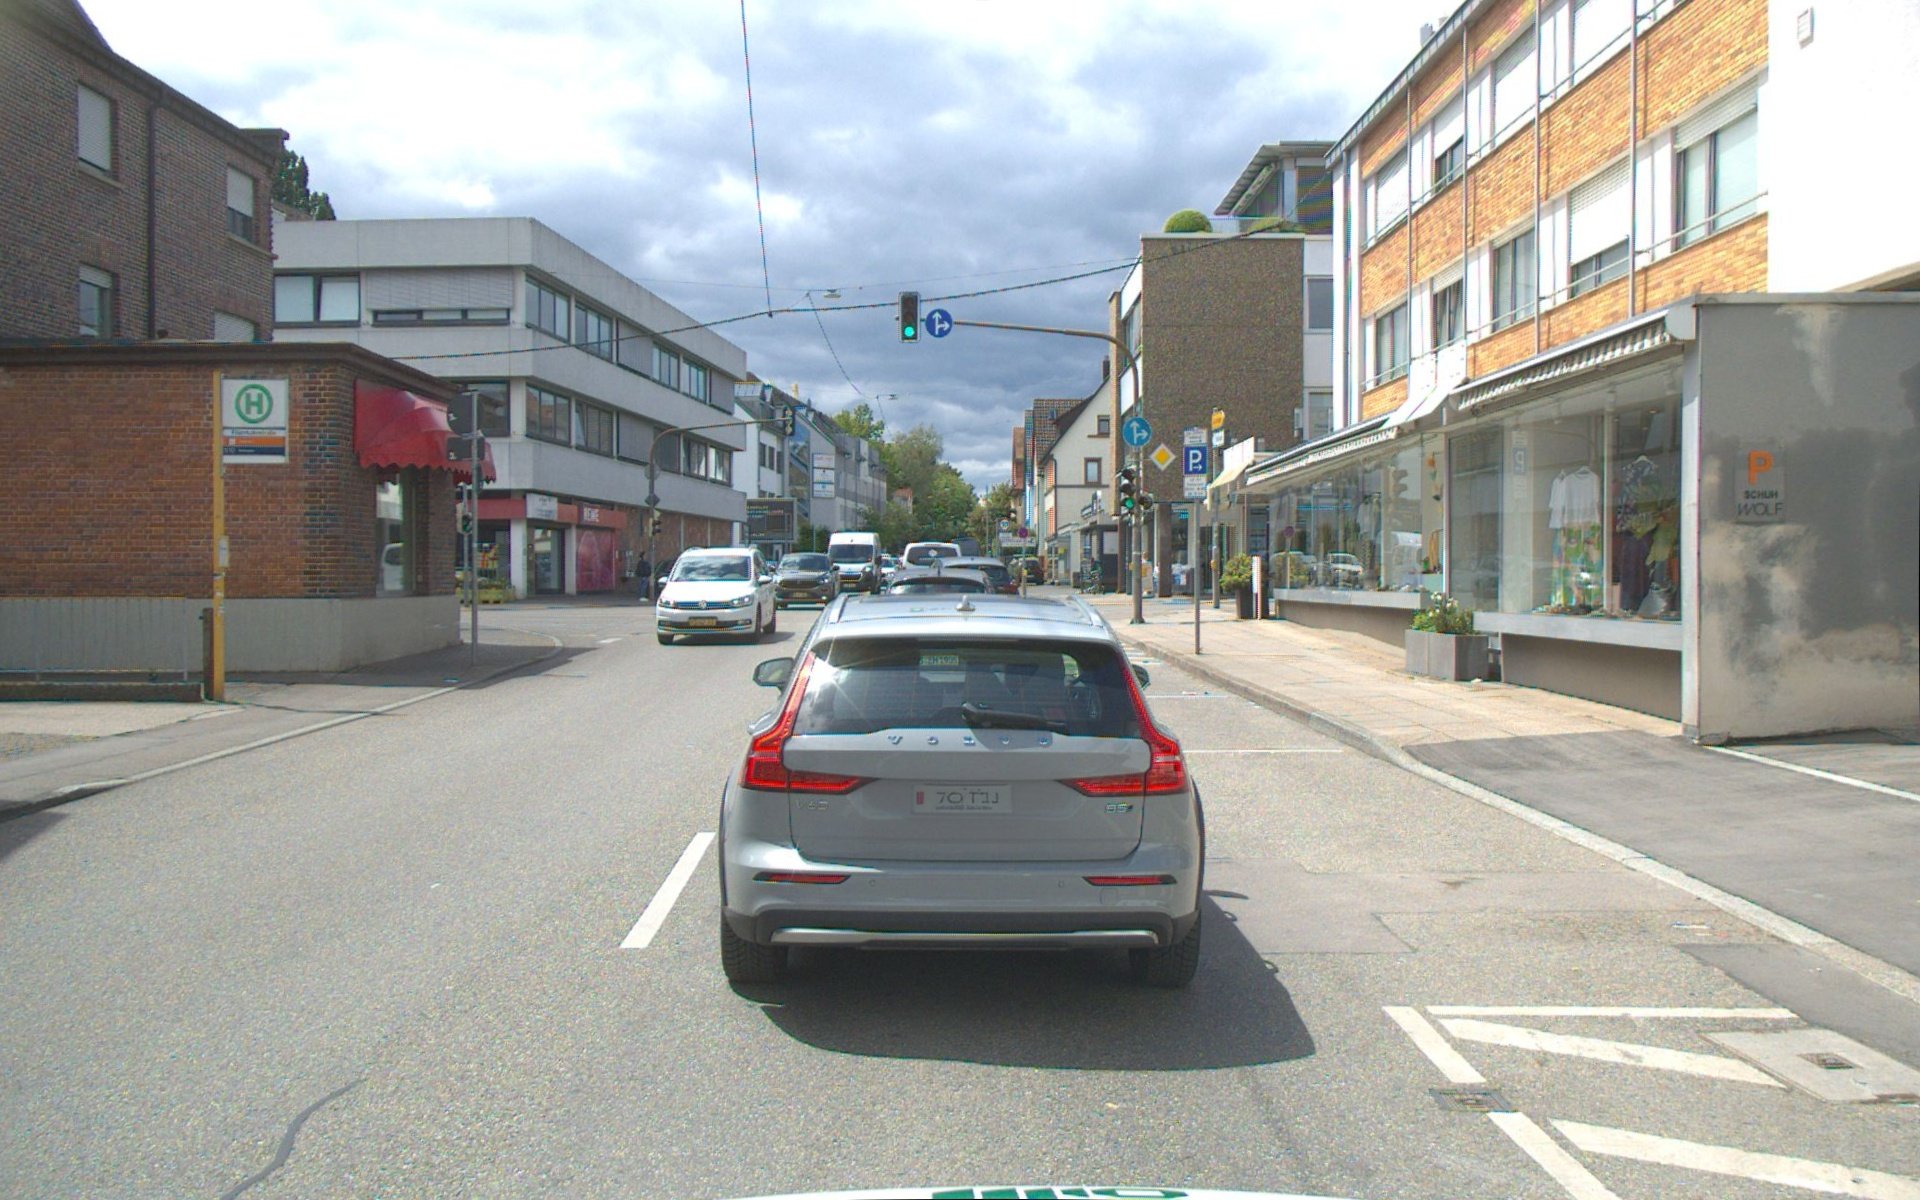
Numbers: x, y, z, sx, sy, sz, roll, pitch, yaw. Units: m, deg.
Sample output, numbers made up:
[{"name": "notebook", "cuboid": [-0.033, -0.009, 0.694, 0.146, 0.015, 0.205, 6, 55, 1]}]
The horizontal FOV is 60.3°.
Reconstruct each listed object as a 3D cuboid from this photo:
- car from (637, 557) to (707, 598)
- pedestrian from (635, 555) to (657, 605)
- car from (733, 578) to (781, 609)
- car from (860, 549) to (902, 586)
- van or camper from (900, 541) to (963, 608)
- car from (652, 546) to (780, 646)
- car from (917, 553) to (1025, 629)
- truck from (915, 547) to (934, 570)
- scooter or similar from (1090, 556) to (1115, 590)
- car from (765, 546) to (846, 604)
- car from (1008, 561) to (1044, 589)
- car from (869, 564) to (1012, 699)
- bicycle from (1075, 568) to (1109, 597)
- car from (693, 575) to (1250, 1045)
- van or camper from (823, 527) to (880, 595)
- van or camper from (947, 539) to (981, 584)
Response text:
[{"name": "car", "cuboid": [-10.977, -0.862, 63.299, 1.747, 1.490, 4.089, 1, 1, 3]}, {"name": "pedestrian", "cuboid": [-10.713, -0.683, 56.463, 0.606, 1.670, 0.660, -1, 1, 1]}, {"name": "car", "cuboid": [-9.884, -0.307, 80.686, 1.719, 1.451, 3.863, 0, 0, 2]}, {"name": "car", "cuboid": [-3.830, -1.599, 80.595, 1.744, 1.668, 4.221, -2, 1, 1]}, {"name": "van or camper", "cuboid": [-0.844, -0.723, 48.928, 1.782, 1.867, 3.999, 0, -1, -1]}, {"name": "car", "cuboid": [-4.370, -0.132, 30.156, 1.739, 1.640, 4.120, -1, 2, -1]}, {"name": "car", "cuboid": [0.158, -0.169, 31.902, 1.772, 1.370, 3.714, 0, 0, -5]}, {"name": "truck", "cuboid": [-4.539, -5.302, 212.341, 2.229, 2.936, 7.080, -1, 1, 0]}, {"name": "scooter or similar", "cuboid": [5.587, -1.043, 64.829, 0.336, 1.275, 1.235, -3, 1, -26]}, {"name": "car", "cuboid": [-4.208, -0.660, 45.545, 1.753, 1.537, 3.846, 0, 0, 2]}, {"name": "car", "cuboid": [3.697, -1.380, 92.915, 1.676, 1.490, 3.998, 1, 0, -2]}, {"name": "car", "cuboid": [-0.244, 0.334, 20.588, 1.617, 1.508, 3.607, 1, 1, -1]}, {"name": "bicycle", "cuboid": [5.414, -0.730, 67.972, 0.546, 1.164, 2.289, -1, 1, -18]}, {"name": "car", "cuboid": [0.012, 0.667, 7.344, 1.798, 1.512, 3.999, 0, 0, -1]}, {"name": "van or camper", "cuboid": [-4.336, -1.597, 66.735, 2.105, 2.600, 5.436, -1, 2, -2]}, {"name": "van or camper", "cuboid": [0.279, -2.445, 104.700, 2.080, 2.733, 4.782, -1, 1, 0]}]
